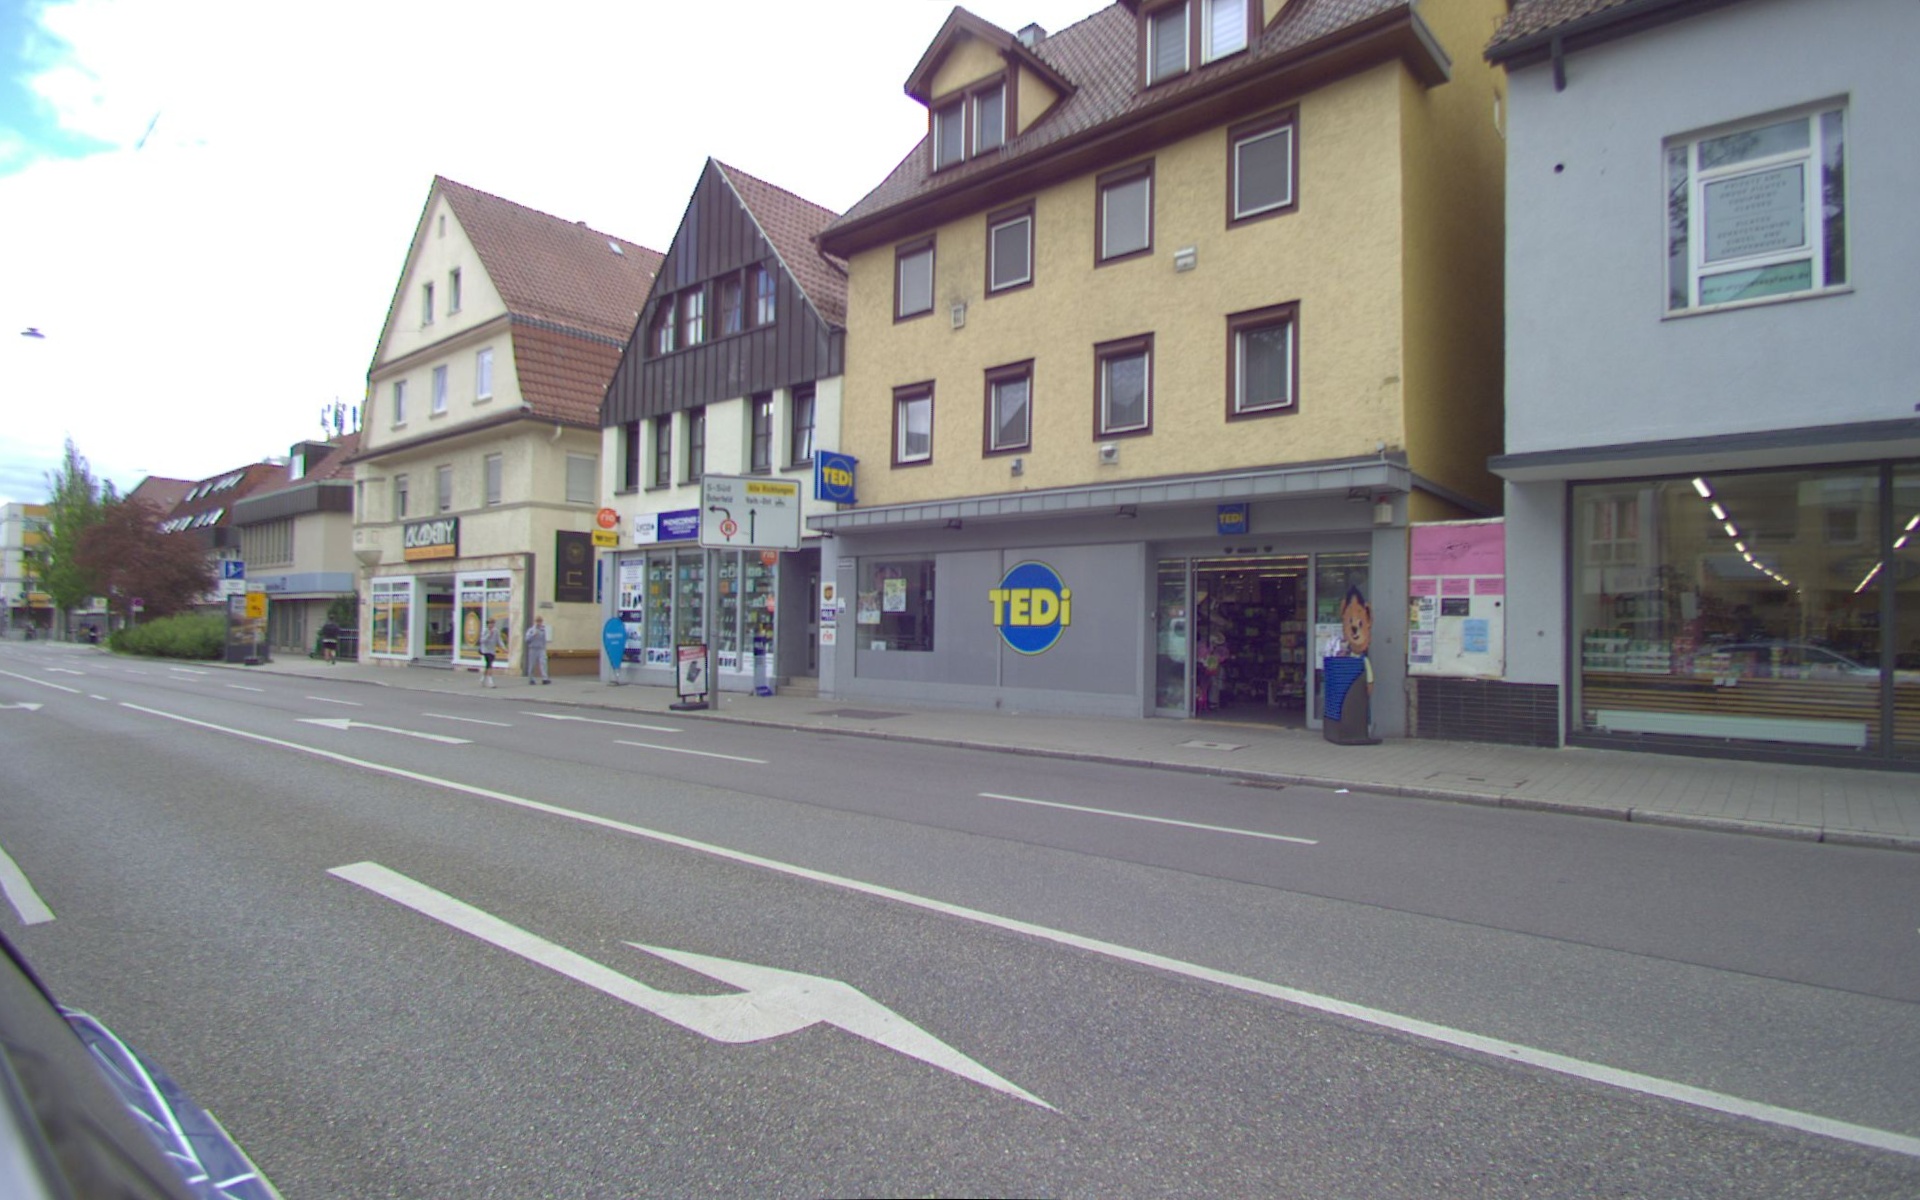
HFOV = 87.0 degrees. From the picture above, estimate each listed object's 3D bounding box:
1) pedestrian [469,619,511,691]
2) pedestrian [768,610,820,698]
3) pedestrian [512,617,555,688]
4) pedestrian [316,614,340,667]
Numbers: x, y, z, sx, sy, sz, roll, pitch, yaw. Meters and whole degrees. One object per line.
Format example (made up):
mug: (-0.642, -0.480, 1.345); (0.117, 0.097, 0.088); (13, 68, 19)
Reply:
pedestrian: (-11.285, 1.303, 24.299); (0.742, 1.703, 0.680); (-2, -1, 41)
pedestrian: (-3.350, 1.064, 20.393); (0.775, 1.726, 0.679); (-2, -1, 41)
pedestrian: (-10.500, 1.275, 24.905); (0.709, 1.683, 0.680); (-2, 0, 41)
pedestrian: (-23.069, 1.477, 36.929); (0.592, 1.903, 0.544); (-1, -1, 37)
